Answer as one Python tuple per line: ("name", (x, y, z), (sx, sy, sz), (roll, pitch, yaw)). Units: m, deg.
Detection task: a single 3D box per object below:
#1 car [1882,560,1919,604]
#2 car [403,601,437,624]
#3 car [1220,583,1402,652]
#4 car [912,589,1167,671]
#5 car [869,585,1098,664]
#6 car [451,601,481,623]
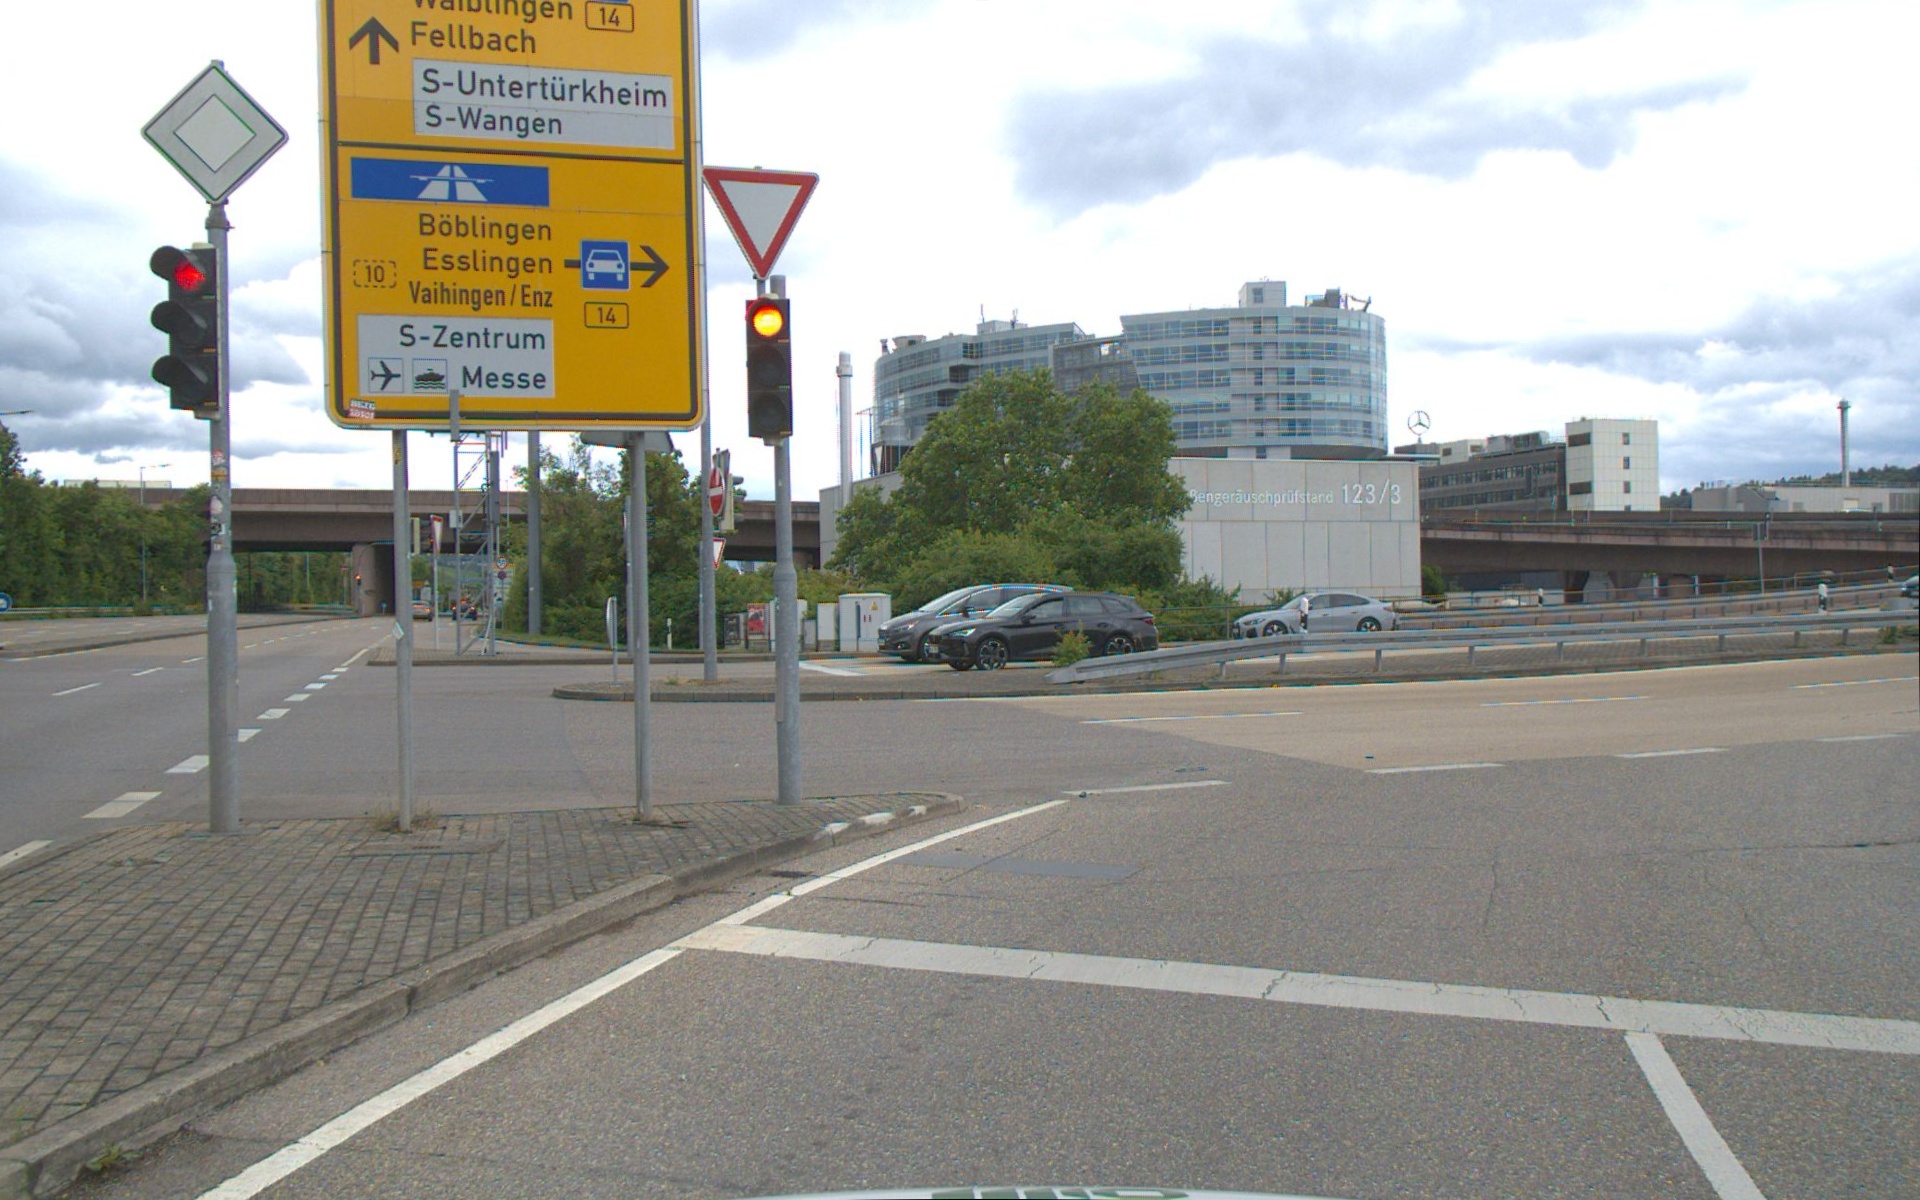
("car", (33.025, -0.591, 55.489), (3.937, 1.446, 1.897), (0, 1, -29))
("car", (-37.304, 0.856, 114.327), (1.961, 1.467, 4.092), (1, -2, -16))
("car", (9.959, 0.490, 47.023), (4.647, 1.691, 1.910), (3, 0, -11))
("car", (1.527, 0.539, 31.863), (4.537, 1.482, 1.945), (0, 1, -20))
("car", (0.490, 0.500, 35.842), (4.608, 1.599, 1.945), (0, 1, -19))
("car", (-37.563, 0.931, 125.845), (1.960, 1.490, 4.094), (1, -2, -15))
